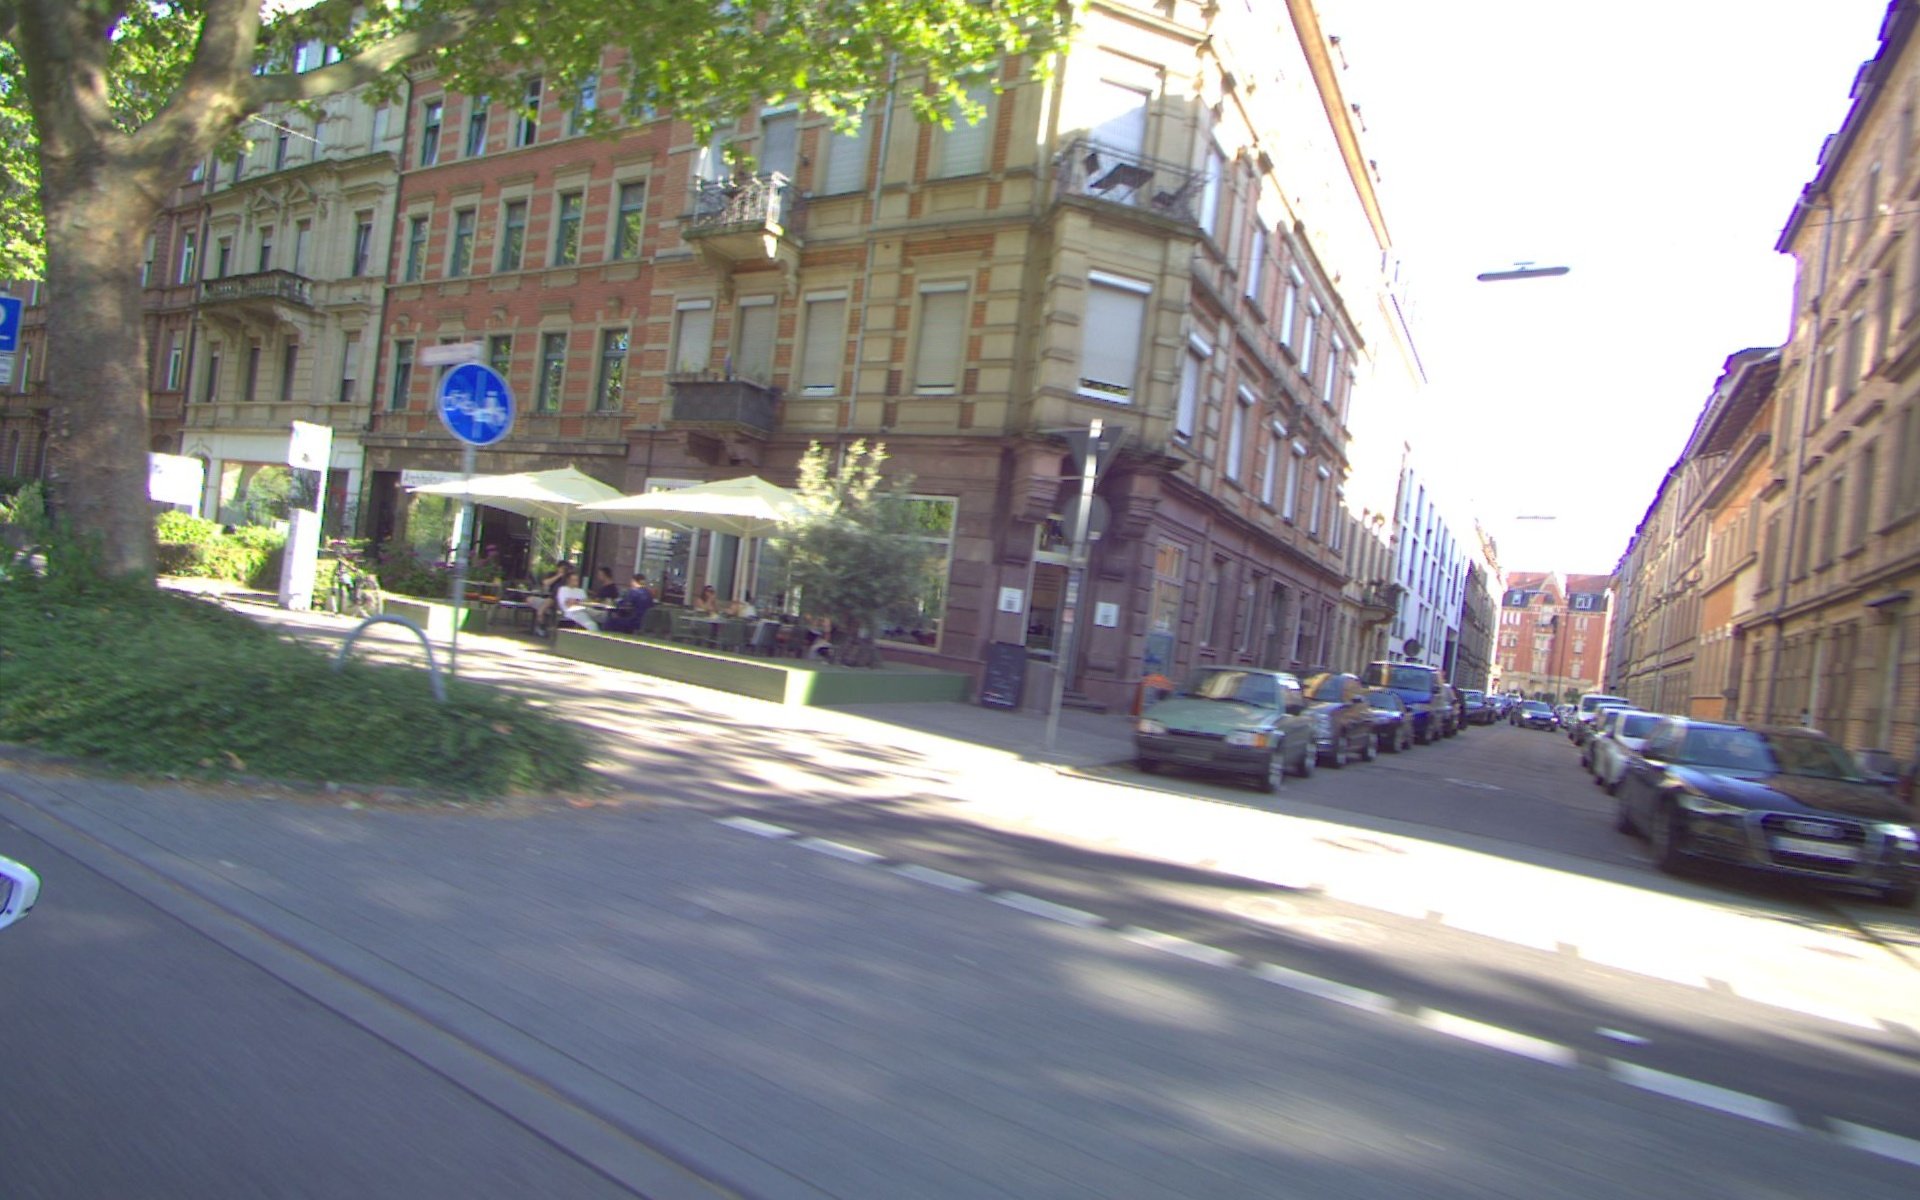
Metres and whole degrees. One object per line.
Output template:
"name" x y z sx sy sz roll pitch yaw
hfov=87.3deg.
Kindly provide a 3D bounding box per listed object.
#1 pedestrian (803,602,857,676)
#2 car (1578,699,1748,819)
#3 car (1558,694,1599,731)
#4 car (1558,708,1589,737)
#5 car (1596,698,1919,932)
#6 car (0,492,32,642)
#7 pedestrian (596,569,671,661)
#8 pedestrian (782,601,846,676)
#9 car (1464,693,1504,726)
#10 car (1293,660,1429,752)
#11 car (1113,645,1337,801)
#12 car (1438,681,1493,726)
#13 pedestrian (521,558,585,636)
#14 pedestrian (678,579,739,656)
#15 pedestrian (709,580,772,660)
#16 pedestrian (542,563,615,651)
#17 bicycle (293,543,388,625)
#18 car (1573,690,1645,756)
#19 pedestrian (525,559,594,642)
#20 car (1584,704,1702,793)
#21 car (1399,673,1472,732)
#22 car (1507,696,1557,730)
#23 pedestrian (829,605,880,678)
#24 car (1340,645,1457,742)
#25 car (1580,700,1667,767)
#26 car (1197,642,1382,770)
"pedestrian" -2.119 0.642 16.453 0.517 1.115 0.557 7 0 31
"car" 12.269 2.685 17.830 1.713 1.566 4.129 7 -1 27
"car" 39.645 7.202 64.448 1.967 2.037 3.992 7 -1 32
"car" 51.006 10.133 83.599 1.967 2.037 3.992 7 -1 32
"car" 7.941 1.914 10.156 1.888 1.566 4.615 7 -2 26
"car" -11.977 -0.621 10.685 4.568 1.495 1.806 7 -1 31
"pedestrian" -5.071 0.235 15.644 0.651 1.315 0.714 7 0 31
"pedestrian" -2.527 0.669 17.440 0.651 1.186 0.714 7 0 31
"car" 33.571 7.009 64.415 1.833 1.778 3.993 7 -1 31
"car" 8.491 2.194 21.124 1.894 1.504 3.652 7 -1 32
"car" 3.488 1.455 12.670 1.713 1.381 3.996 9 0 28
"car" 23.864 4.877 47.418 1.833 1.778 3.993 7 -1 31
"pedestrian" -7.444 -0.049 18.408 0.652 1.315 0.713 7 0 32
"pedestrian" -4.636 0.324 18.566 0.703 1.315 0.661 7 0 31
"pedestrian" -3.937 0.363 18.086 0.651 1.315 0.714 7 0 31
"pedestrian" -6.167 0.117 16.272 0.651 1.315 0.714 7 0 30
"bicycle" -10.243 -0.280 16.616 1.864 1.158 0.475 7 2 31
"car" 24.220 4.562 37.657 1.967 2.037 3.993 7 -1 32
"pedestrian" -6.834 0.015 17.180 0.651 1.315 0.714 7 0 31
"car" 14.788 3.150 21.971 1.713 1.512 3.994 7 -1 31
"car" 17.334 3.702 36.607 1.833 1.778 3.993 7 -1 31
"car" 30.733 6.064 54.003 1.968 1.470 3.992 7 -1 33
"pedestrian" -1.784 0.711 17.036 0.517 1.152 0.557 7 0 31
"car" 11.441 2.405 26.075 1.967 2.038 4.612 7 -1 32
"car" 18.714 3.715 28.517 1.713 1.512 3.994 7 -1 31
"car" 5.636 1.736 16.904 1.862 1.667 3.901 7 -1 33
